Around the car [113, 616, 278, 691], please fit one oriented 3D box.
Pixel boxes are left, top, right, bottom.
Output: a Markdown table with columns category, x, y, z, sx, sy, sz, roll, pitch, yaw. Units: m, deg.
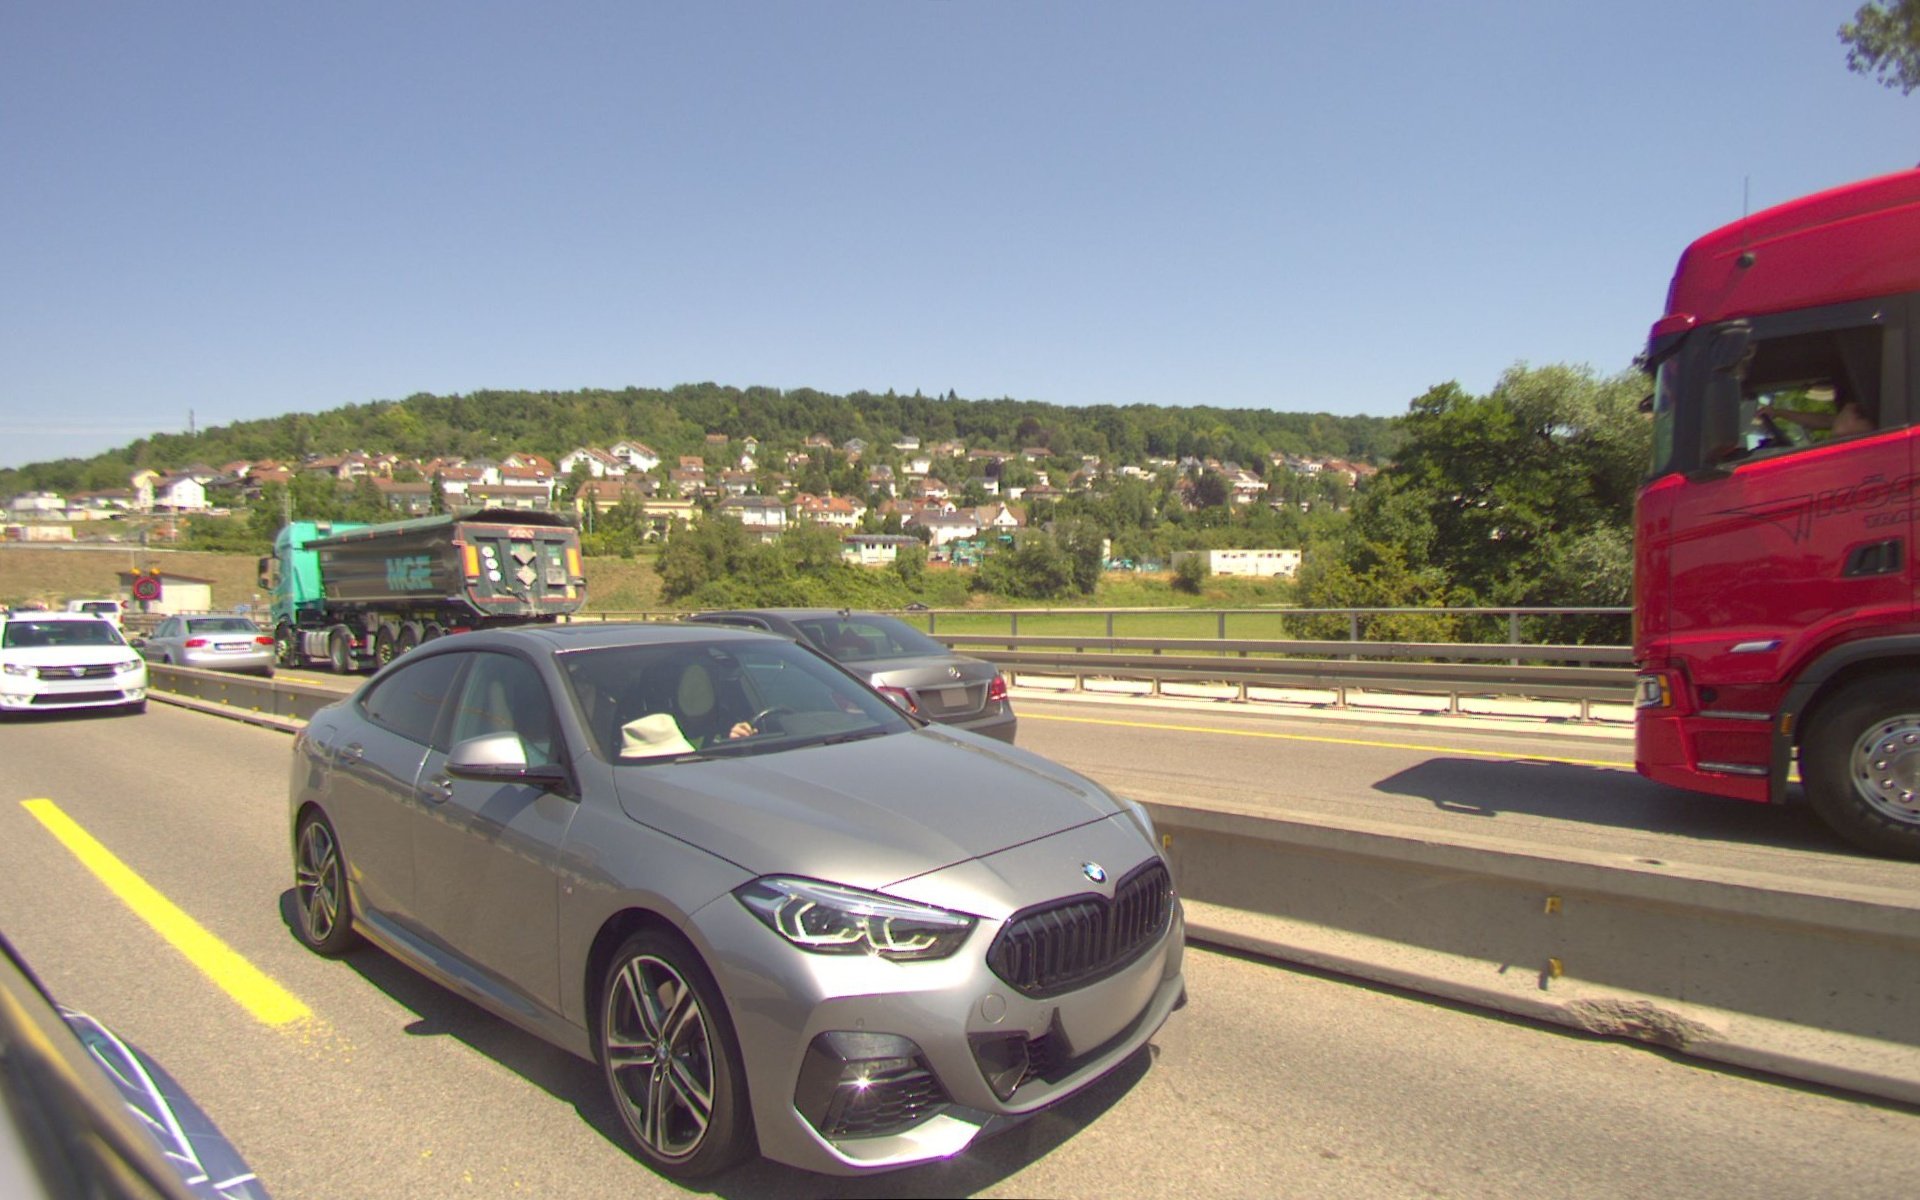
| category | x | y | z | sx | sy | sz | roll | pitch | yaw |
| --- | --- | --- | --- | --- | --- | --- | --- | --- | --- |
| car | -15.964 | 1.050 | 21.034 | 4.708 | 1.390 | 1.762 | -1 | -2 | 41 |

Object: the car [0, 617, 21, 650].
| category | x | y | z | sx | sy | sz | roll | pitch | yaw |
| --- | --- | --- | --- | --- | --- | --- | --- | --- | --- |
| car | -42.983 | 1.459 | 44.772 | 4.153 | 1.402 | 1.661 | -1 | -2 | 41 |

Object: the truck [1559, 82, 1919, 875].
| category | x | y | z | sx | sy | sz | roll | pitch | yaw |
| --- | --- | --- | --- | --- | --- | --- | --- | --- | --- |
| truck | 7.106 | -0.675 | 5.157 | 6.518 | 4.068 | 2.787 | -2 | -1 | 41 |

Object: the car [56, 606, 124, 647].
| category | x | y | z | sx | sy | sz | roll | pitch | yaw |
| --- | --- | --- | --- | --- | --- | --- | --- | --- | --- |
| car | -42.177 | 1.267 | 49.029 | 4.627 | 1.882 | 1.839 | -1 | -1 | 41 |

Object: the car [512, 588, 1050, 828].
| category | x | y | z | sx | sy | sz | roll | pitch | yaw |
| --- | --- | --- | --- | --- | --- | --- | --- | --- | --- |
| car | -1.764 | 0.742 | 8.655 | 4.917 | 1.499 | 1.870 | -1 | -3 | 41 |

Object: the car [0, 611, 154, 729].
| category | x | y | z | sx | sy | sz | roll | pitch | yaw |
| --- | --- | --- | --- | --- | --- | --- | --- | --- | --- |
| car | -13.886 | 0.966 | 15.418 | 4.705 | 1.542 | 1.799 | -1 | -1 | 42 |

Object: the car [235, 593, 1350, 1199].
| category | x | y | z | sx | sy | sz | roll | pitch | yaw |
| --- | --- | --- | --- | --- | --- | --- | --- | --- | --- |
| car | -1.148 | 0.762 | 4.082 | 4.739 | 1.463 | 1.833 | -1 | -1 | 41 |

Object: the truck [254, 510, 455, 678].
| category | x | y | z | sx | sy | sz | roll | pitch | yaw |
| --- | --- | --- | --- | --- | --- | --- | --- | --- | --- |
| truck | -15.272 | -0.115 | 25.406 | 5.371 | 3.750 | 2.768 | 0 | 0 | 41 |

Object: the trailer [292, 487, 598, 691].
| category | x | y | z | sx | sy | sz | roll | pitch | yaw |
| --- | --- | --- | --- | --- | --- | --- | --- | --- | --- |
| trailer | -11.617 | -0.155 | 22.285 | 8.950 | 3.700 | 2.766 | -1 | 0 | 40 |

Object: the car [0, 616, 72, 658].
| category | x | y | z | sx | sy | sz | roll | pitch | yaw |
| --- | --- | --- | --- | --- | --- | --- | --- | --- | --- |
| car | -32.893 | 1.291 | 35.820 | 4.101 | 1.419 | 1.614 | -1 | -2 | 41 |

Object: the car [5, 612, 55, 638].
| category | x | y | z | sx | sy | sz | roll | pitch | yaw |
| --- | --- | --- | --- | --- | --- | --- | --- | --- | --- |
| car | -58.117 | 1.565 | 63.221 | 3.997 | 1.581 | 1.795 | -1 | -1 | 40 |
